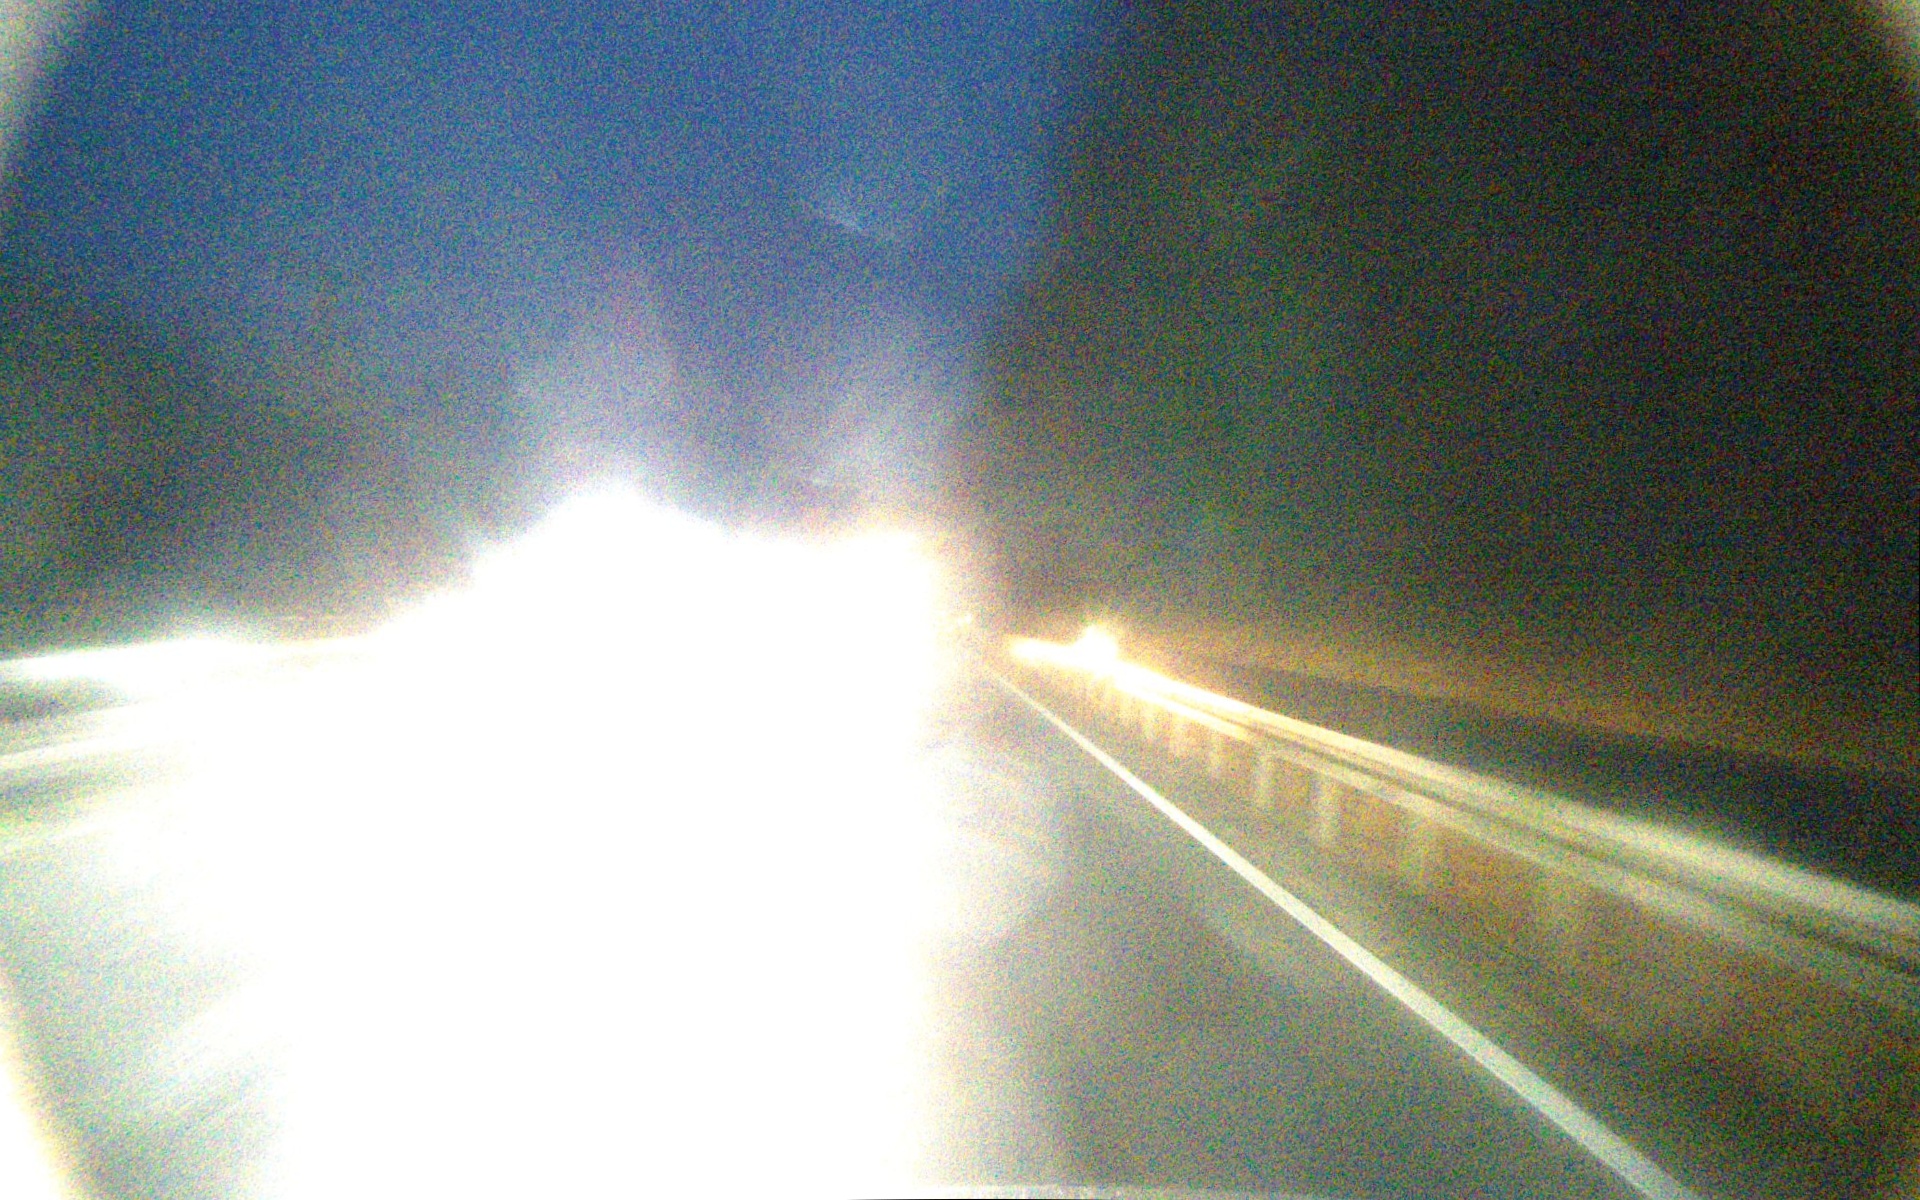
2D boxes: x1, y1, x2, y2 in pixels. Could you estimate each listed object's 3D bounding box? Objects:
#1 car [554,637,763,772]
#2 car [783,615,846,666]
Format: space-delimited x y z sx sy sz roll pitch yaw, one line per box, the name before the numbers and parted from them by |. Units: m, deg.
car | -3.432 1.149 19.551 1.769 1.362 4.187 1 -1 -2
car | -4.781 1.314 54.832 1.797 1.572 4.644 1 -1 -2
